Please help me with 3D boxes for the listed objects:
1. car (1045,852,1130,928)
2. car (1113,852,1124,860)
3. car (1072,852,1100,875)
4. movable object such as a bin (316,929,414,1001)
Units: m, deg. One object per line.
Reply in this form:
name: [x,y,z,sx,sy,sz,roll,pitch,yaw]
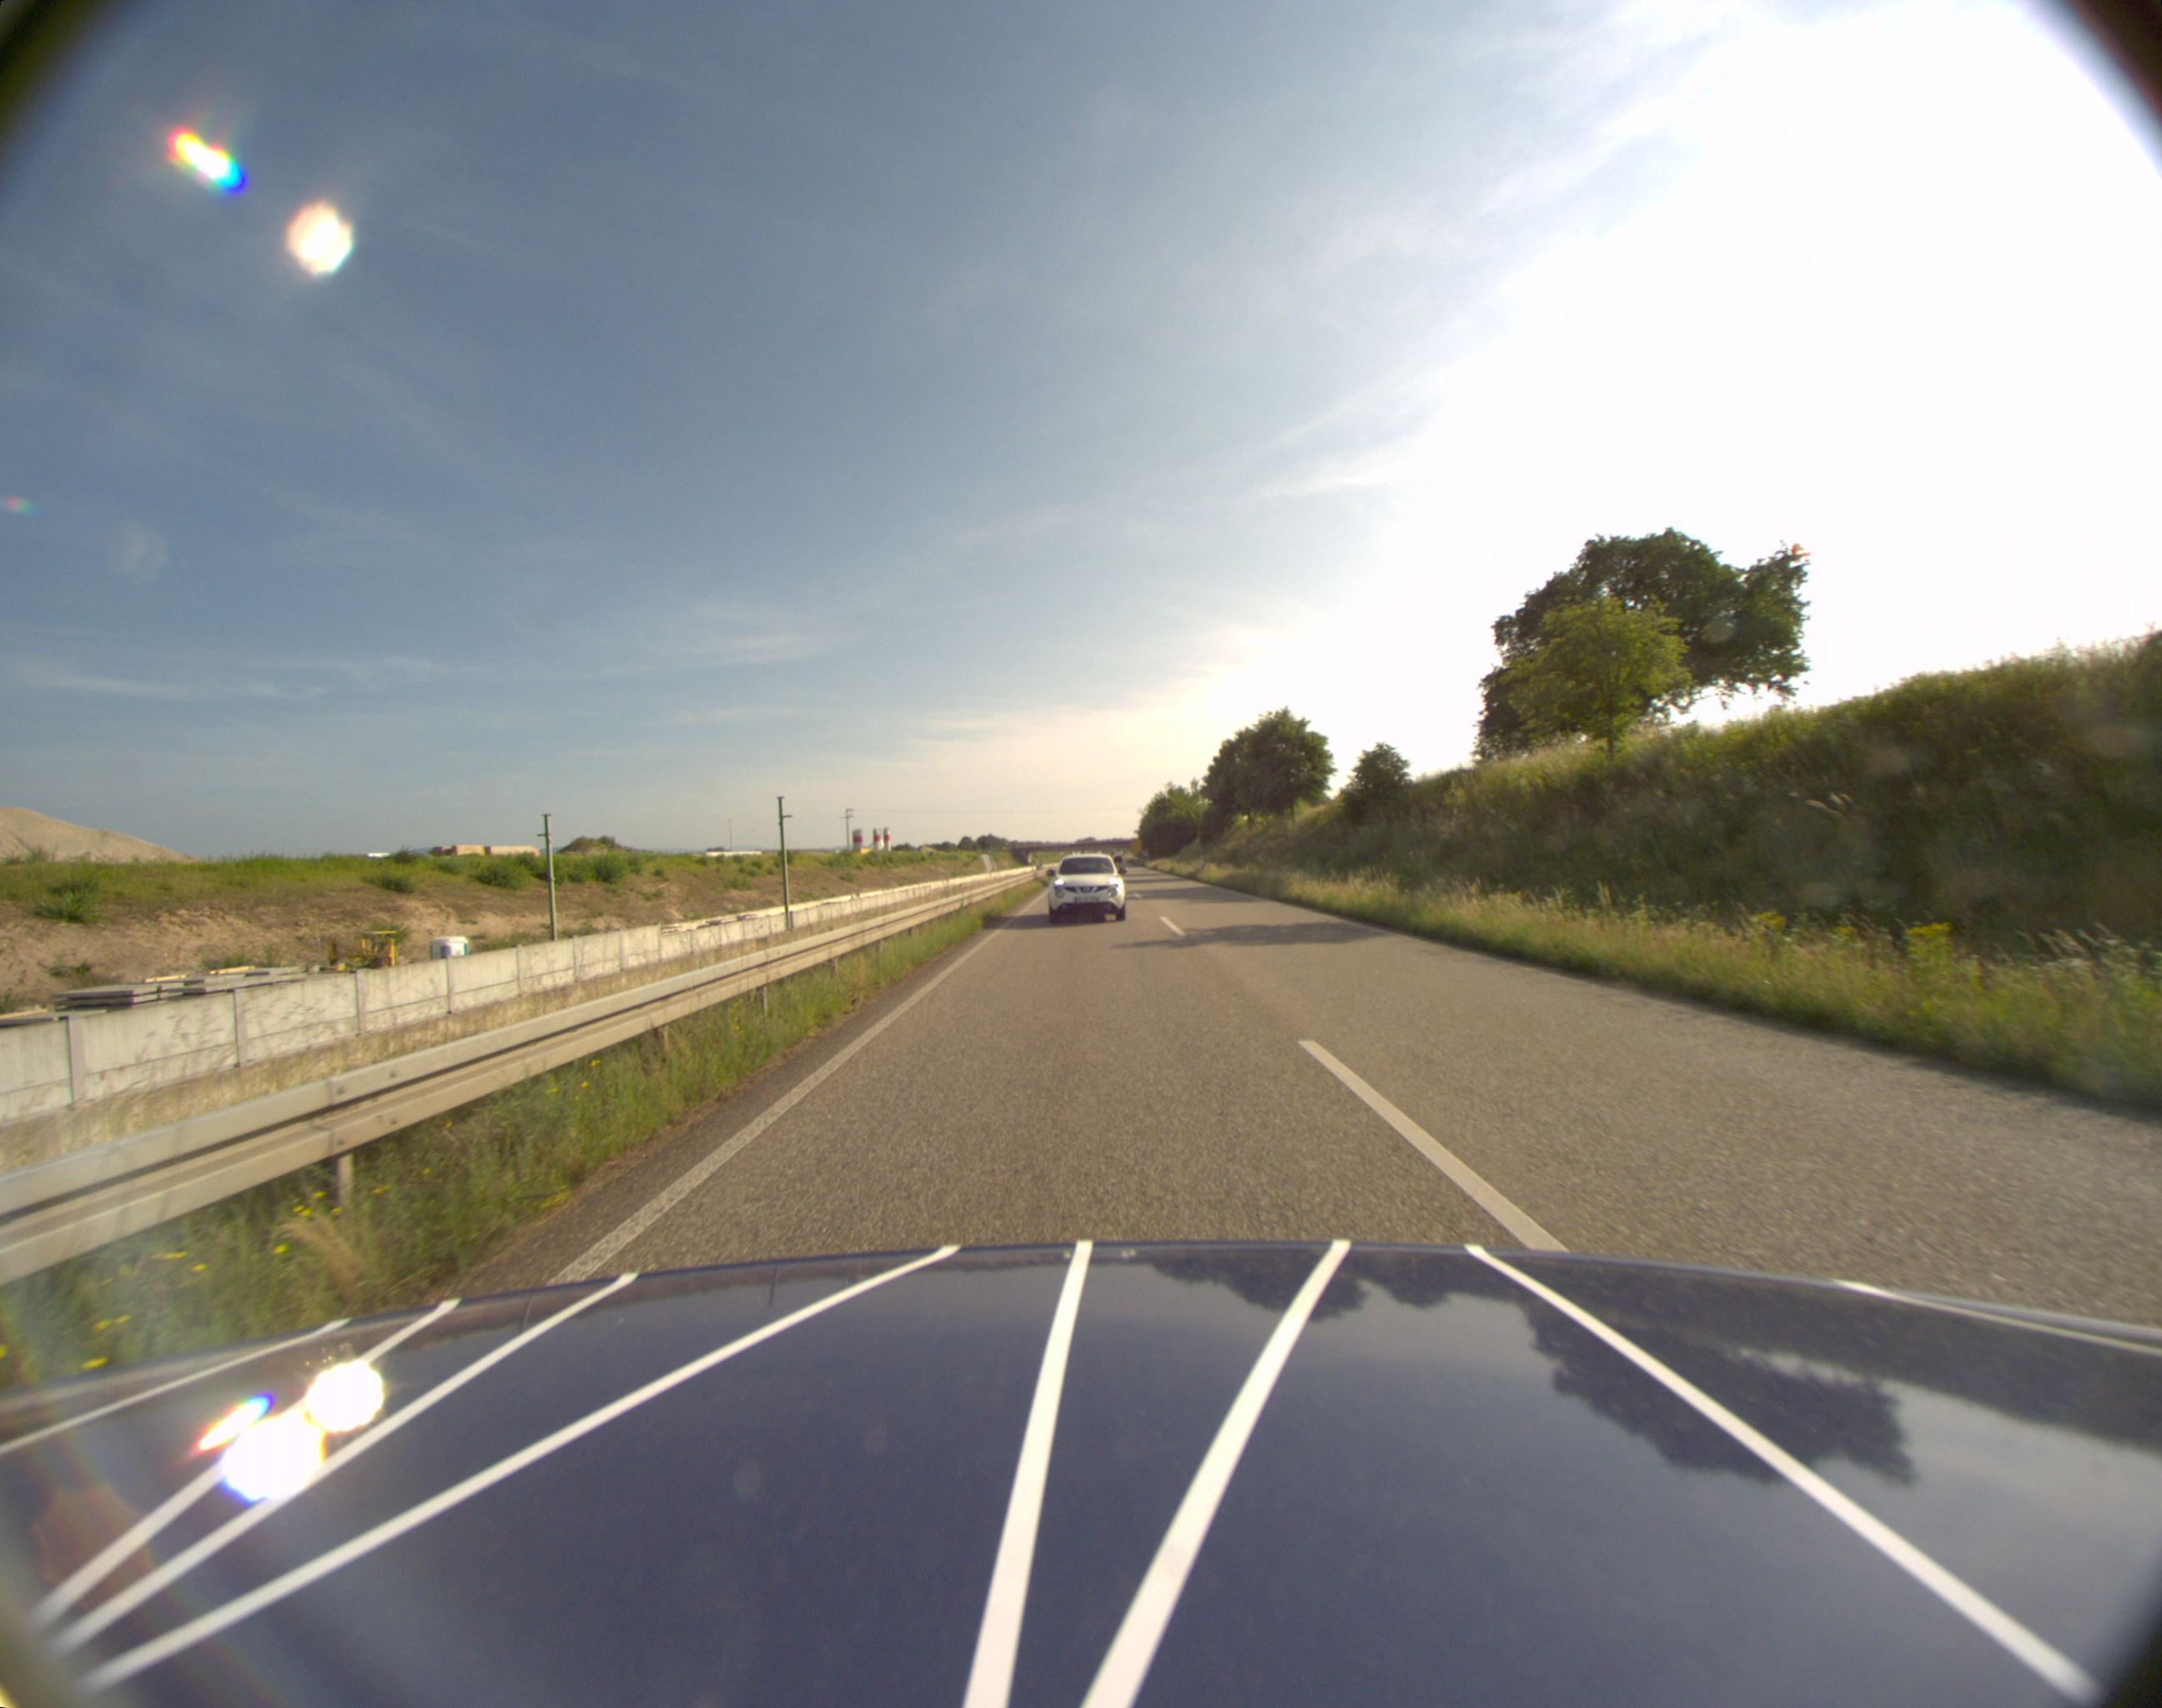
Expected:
car: [0.168,0.788,19.084,1.789,1.593,4.571,-3,0,0]
car: [7.367,0.424,149.268,1.747,1.538,4.311,-2,0,0]
car: [0.406,0.682,56.596,1.908,1.512,4.465,-3,0,2]
movable object such as a bin: [-30.183,4.607,32.057,2.906,2.646,2.023,-2,1,26]
